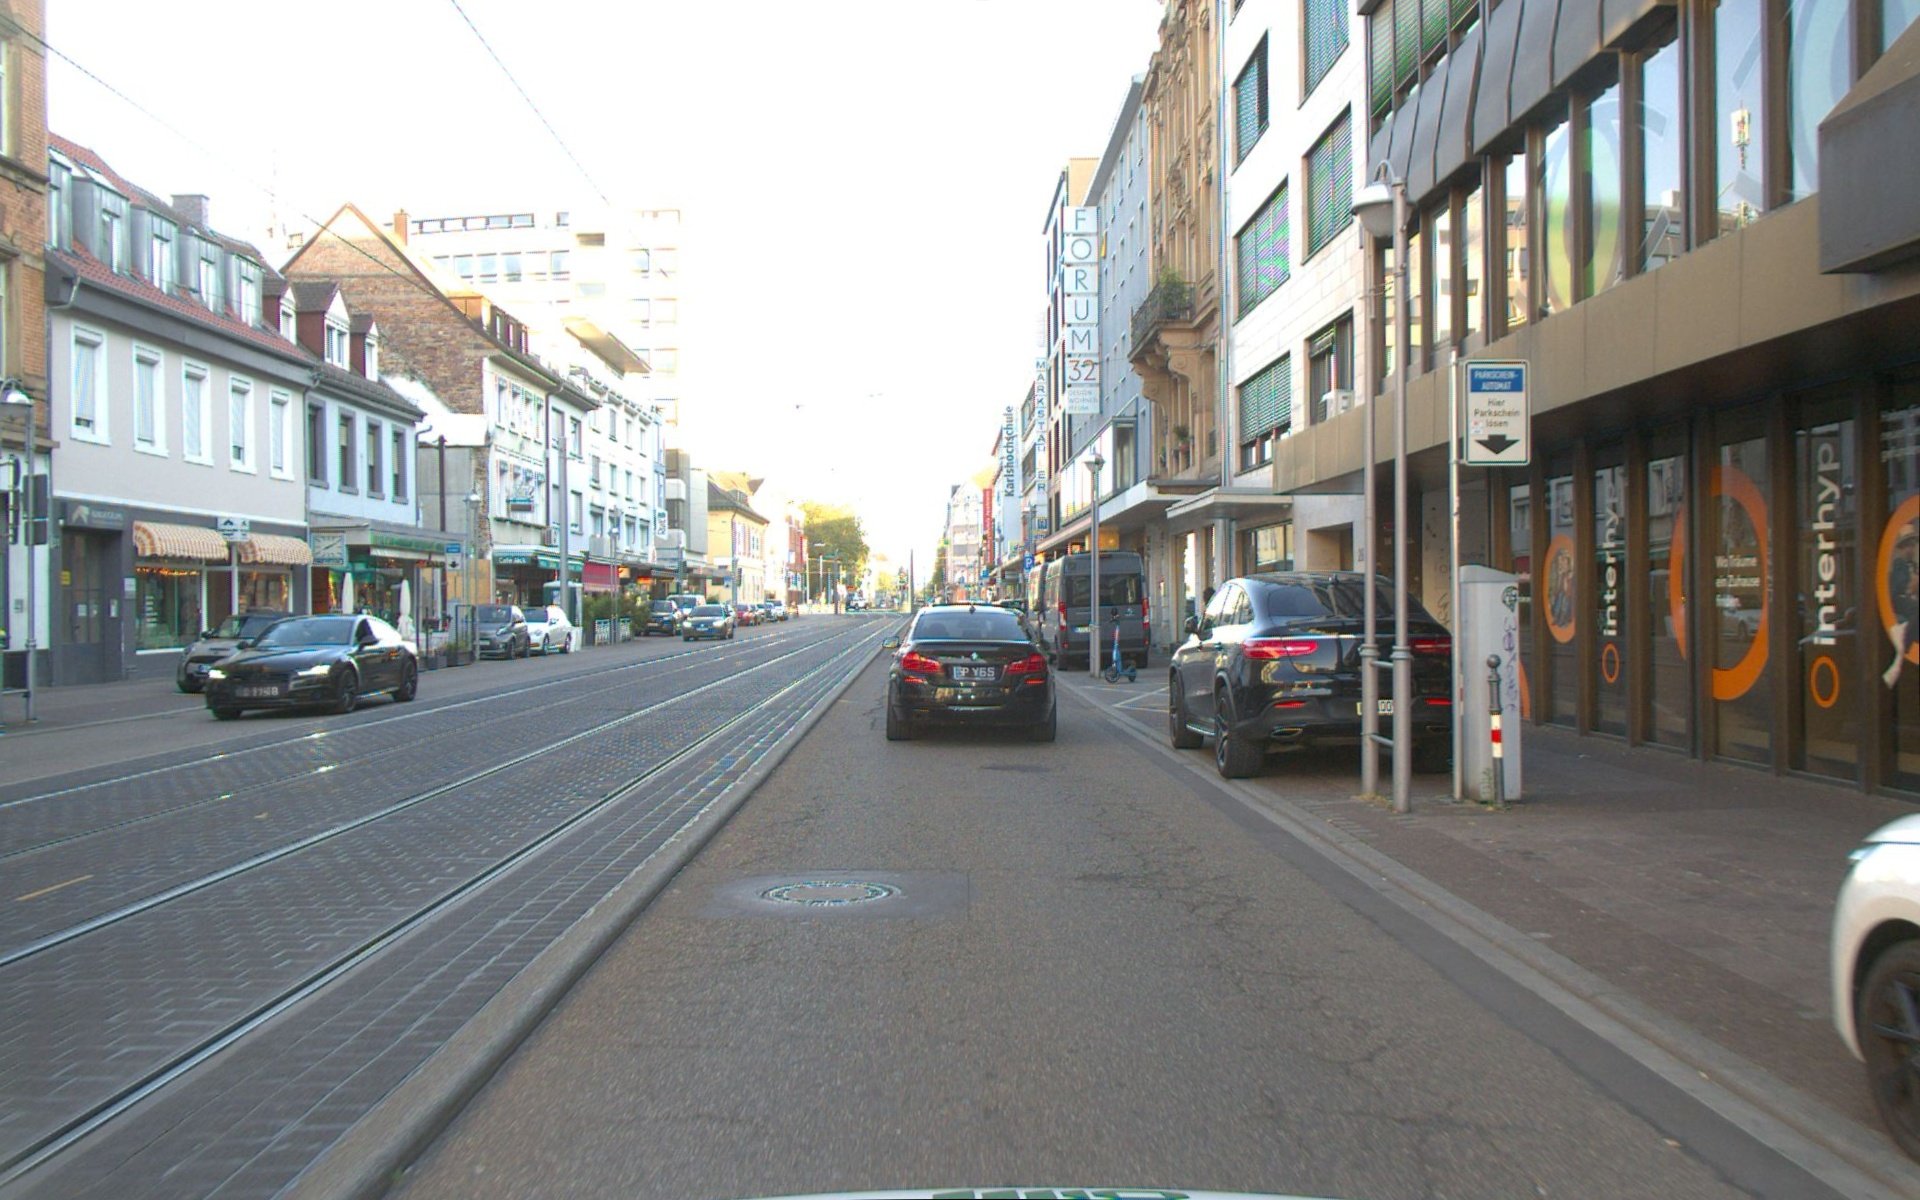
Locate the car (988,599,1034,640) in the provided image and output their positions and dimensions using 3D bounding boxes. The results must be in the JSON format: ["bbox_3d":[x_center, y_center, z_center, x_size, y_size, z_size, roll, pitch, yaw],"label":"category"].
[{"bbox_3d":[2.031,0.755,67.210,1.621,1.564,3.884,-2,0,-2],"label":"car"}]

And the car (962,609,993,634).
[{"bbox_3d":[1.088,1.369,105.626,1.864,1.576,3.999,0,-1,-1],"label":"car"}]

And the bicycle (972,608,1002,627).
[{"bbox_3d":[1.682,1.064,102.080,1.823,1.139,0.468,0,-2,0],"label":"bicycle"}]

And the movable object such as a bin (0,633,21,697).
[{"bbox_3d":[-16.289,1.083,27.896,0.485,1.051,0.694,1,0,-2],"label":"movable object such as a bin"}]

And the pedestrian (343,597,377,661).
[{"bbox_3d":[-15.837,0.768,43.688,0.649,1.673,0.694,0,0,-1],"label":"pedestrian"}]

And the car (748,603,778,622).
[{"bbox_3d":[-15.353,0.955,129.263,1.889,1.460,4.245,-1,0,-1],"label":"car"}]

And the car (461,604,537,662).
[{"bbox_3d":[-13.175,0.926,47.391,1.447,1.605,2.794,-1,0,-1],"label":"car"}]

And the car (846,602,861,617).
[{"bbox_3d":[-14.830,1.376,230.302,1.953,1.870,3.998,0,-3,-1],"label":"car"}]

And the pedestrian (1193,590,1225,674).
[{"bbox_3d":[5.016,0.653,33.367,0.539,1.673,0.533,1,-1,-1],"label":"pedestrian"}]

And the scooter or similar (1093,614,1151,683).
[{"bbox_3d":[3.023,0.895,30.788,0.490,1.241,1.260,-1,0,36],"label":"scooter or similar"}]

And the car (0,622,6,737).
[{"bbox_3d":[-13.038,0.980,18.900,1.832,1.478,4.606,2,0,-4],"label":"car"}]

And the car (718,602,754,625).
[{"bbox_3d":[-14.951,0.877,110.656,1.889,1.460,4.245,1,0,-1],"label":"car"}]

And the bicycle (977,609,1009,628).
[{"bbox_3d":[1.912,1.080,96.335,1.823,1.099,0.468,0,-2,0],"label":"bicycle"}]

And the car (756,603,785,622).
[{"bbox_3d":[-15.506,1.006,135.354,1.889,1.460,4.245,1,0,-1],"label":"car"}]

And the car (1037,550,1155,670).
[{"bbox_3d":[3.055,0.219,38.470,2.050,2.498,6.030,-2,0,-2],"label":"car"}]

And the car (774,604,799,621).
[{"bbox_3d":[-15.790,1.125,150.584,1.889,1.460,4.245,1,0,-1],"label":"car"}]

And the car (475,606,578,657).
[{"bbox_3d":[-13.473,0.955,51.730,1.953,1.478,4.821,-1,0,0],"label":"car"}]

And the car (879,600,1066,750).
[{"bbox_3d":[0.140,0.772,19.248,1.913,1.524,4.465,-1,0,0],"label":"car"}]

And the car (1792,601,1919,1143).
[{"bbox_3d":[3.491,0.722,3.153,1.759,1.458,3.886,-2,0,-1],"label":"car"}]

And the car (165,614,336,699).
[{"bbox_3d":[-13.262,1.025,31.156,1.566,1.465,3.811,1,-1,0],"label":"car"}]

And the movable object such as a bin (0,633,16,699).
[{"bbox_3d":[-15.928,1.085,27.119,0.507,1.061,0.659,1,0,-2],"label":"movable object such as a bin"}]

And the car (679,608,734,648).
[{"bbox_3d":[-10.621,1.158,69.456,1.657,1.478,4.464,2,1,-1],"label":"car"}]

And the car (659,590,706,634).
[{"bbox_3d":[-14.414,0.616,86.149,1.954,2.194,4.906,-1,0,-4],"label":"car"}]

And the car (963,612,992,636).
[{"bbox_3d":[1.170,1.654,112.442,1.864,1.576,3.779,0,-1,-1],"label":"car"}]

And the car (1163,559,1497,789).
[{"bbox_3d":[3.185,0.583,15.249,1.953,1.757,4.564,-1,0,-1],"label":"car"}]

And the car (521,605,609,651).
[{"bbox_3d":[-13.488,0.923,56.690,1.953,1.478,4.329,-1,0,0],"label":"car"}]

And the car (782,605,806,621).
[{"bbox_3d":[-15.910,1.209,158.393,1.889,1.460,4.245,1,0,-1],"label":"car"}]

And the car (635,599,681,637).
[{"bbox_3d":[-14.260,0.844,78.236,1.830,1.714,3.995,0,0,-6],"label":"car"}]

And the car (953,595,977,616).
[{"bbox_3d":[0.392,0.409,126.813,1.738,1.576,3.502,0,-1,-1],"label":"car"}]

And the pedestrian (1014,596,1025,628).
[{"bbox_3d":[3.428,0.712,95.306,0.543,1.823,0.759,-1,0,-1],"label":"pedestrian"}]

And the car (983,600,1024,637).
[{"bbox_3d":[1.874,0.789,72.248,1.528,1.467,3.708,-3,0,-2],"label":"car"}]

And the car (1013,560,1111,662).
[{"bbox_3d":[2.694,0.282,44.769,1.993,2.498,5.406,-2,0,-3],"label":"car"}]

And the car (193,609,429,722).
[{"bbox_3d":[-9.625,0.900,24.949,1.954,1.478,4.645,-1,0,-4],"label":"car"}]
